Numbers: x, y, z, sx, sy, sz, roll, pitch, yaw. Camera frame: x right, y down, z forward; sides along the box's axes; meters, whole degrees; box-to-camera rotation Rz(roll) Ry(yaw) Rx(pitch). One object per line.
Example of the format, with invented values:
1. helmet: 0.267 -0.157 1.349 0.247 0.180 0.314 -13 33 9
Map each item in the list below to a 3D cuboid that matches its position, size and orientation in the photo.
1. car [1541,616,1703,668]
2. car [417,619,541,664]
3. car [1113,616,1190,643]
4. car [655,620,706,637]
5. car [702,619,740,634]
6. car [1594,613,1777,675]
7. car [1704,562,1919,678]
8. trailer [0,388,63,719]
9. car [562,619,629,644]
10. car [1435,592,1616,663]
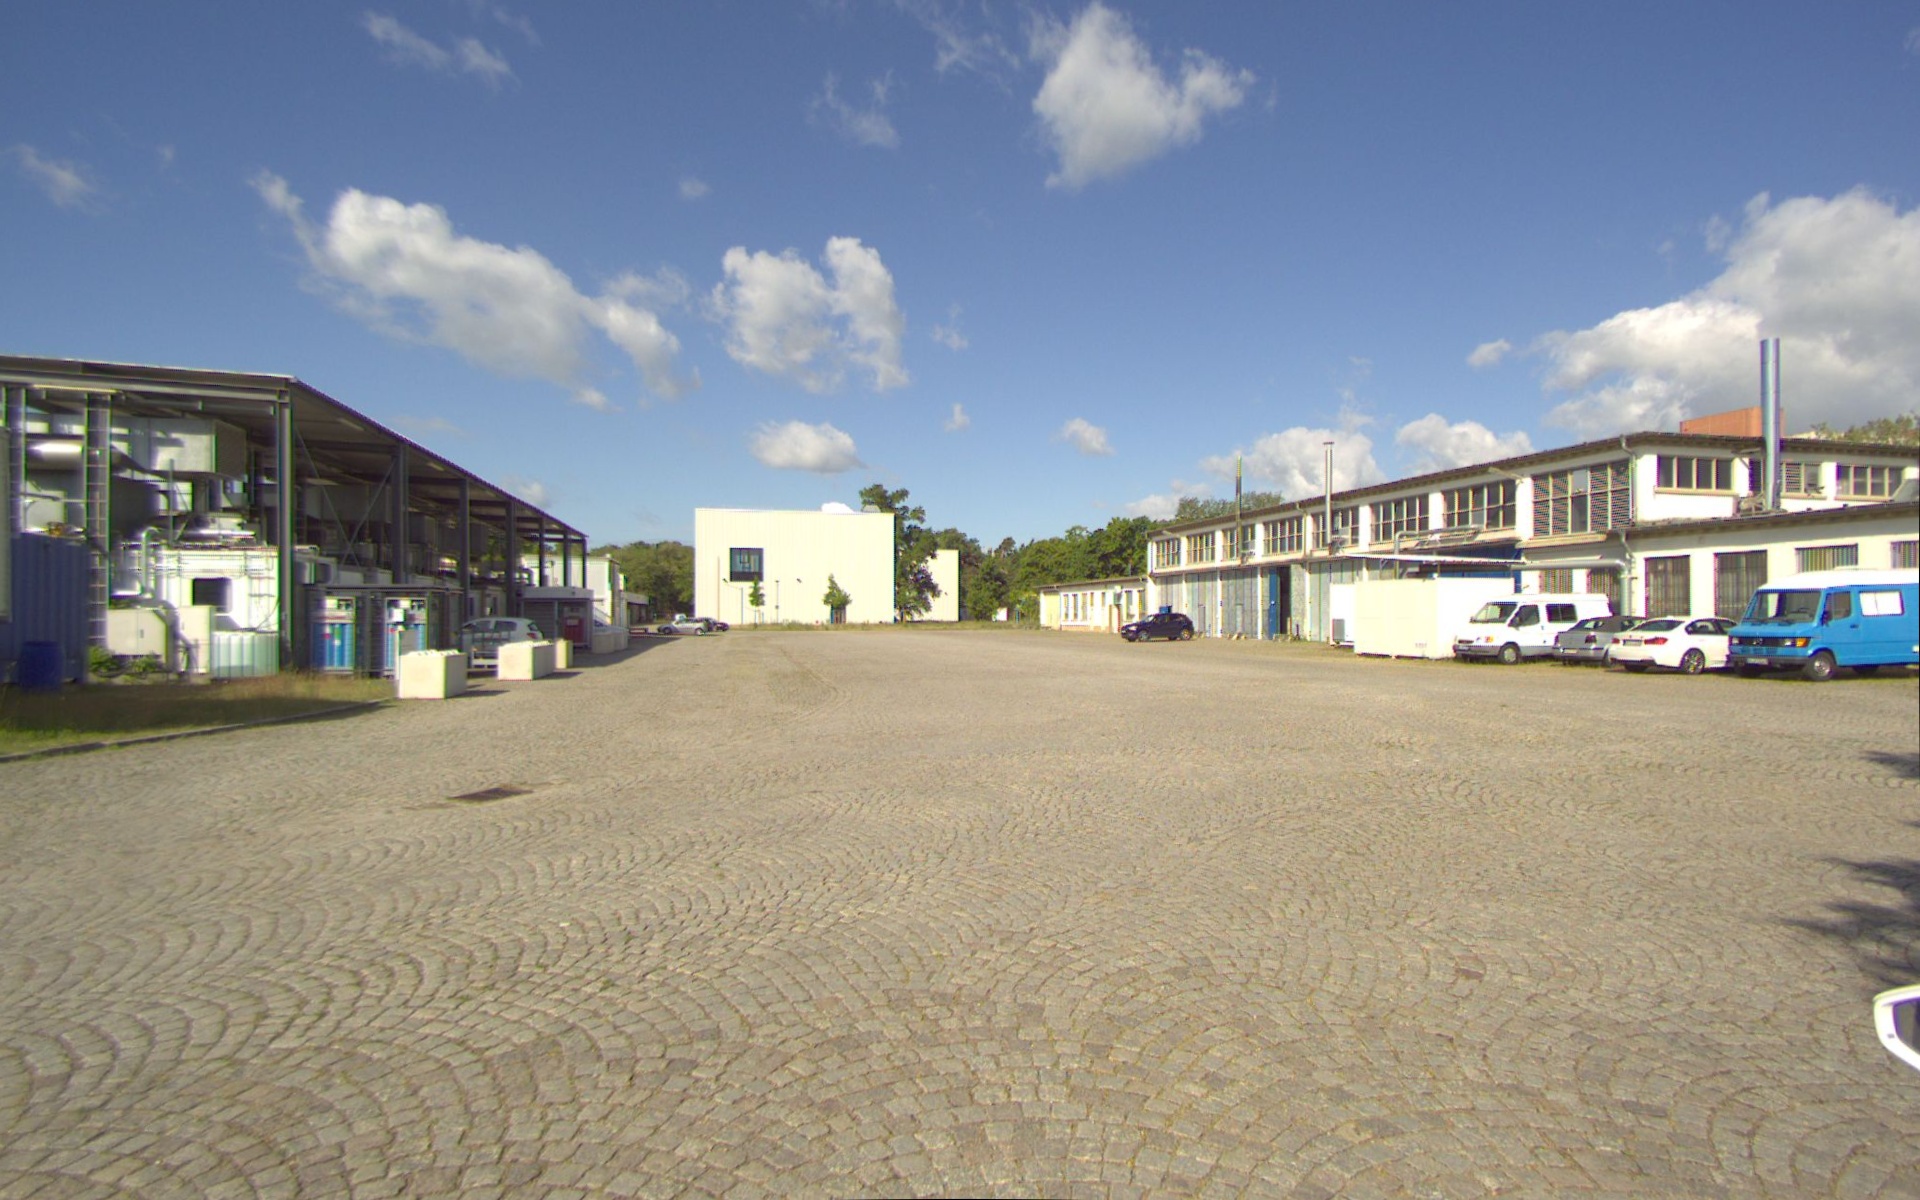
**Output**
1. car: 18.831 1.172 28.648 3.763 1.417 1.689 0 0 -11
2. car: -15.621 1.337 32.800 3.417 1.394 1.606 0 -1 -17
3. car: 11.082 1.678 58.115 4.008 1.489 1.736 -1 -1 -15
4. car: -23.475 2.385 84.447 4.117 1.422 1.736 0 -1 -15
5. car: -24.258 2.685 101.979 4.013 1.448 1.733 -1 -1 39
6. car: 18.515 1.102 25.694 3.672 1.424 1.735 -1 -1 -11
7. car: 20.329 0.456 23.201 5.145 2.516 2.086 0 -1 -10
8. trailer: -16.683 -0.573 10.656 10.693 3.963 2.776 0 -1 -11
9. car: -21.618 1.851 59.655 3.637 1.427 1.670 0 -1 -16
10. car: 17.613 0.851 31.373 4.718 2.109 2.006 0 -1 -10
